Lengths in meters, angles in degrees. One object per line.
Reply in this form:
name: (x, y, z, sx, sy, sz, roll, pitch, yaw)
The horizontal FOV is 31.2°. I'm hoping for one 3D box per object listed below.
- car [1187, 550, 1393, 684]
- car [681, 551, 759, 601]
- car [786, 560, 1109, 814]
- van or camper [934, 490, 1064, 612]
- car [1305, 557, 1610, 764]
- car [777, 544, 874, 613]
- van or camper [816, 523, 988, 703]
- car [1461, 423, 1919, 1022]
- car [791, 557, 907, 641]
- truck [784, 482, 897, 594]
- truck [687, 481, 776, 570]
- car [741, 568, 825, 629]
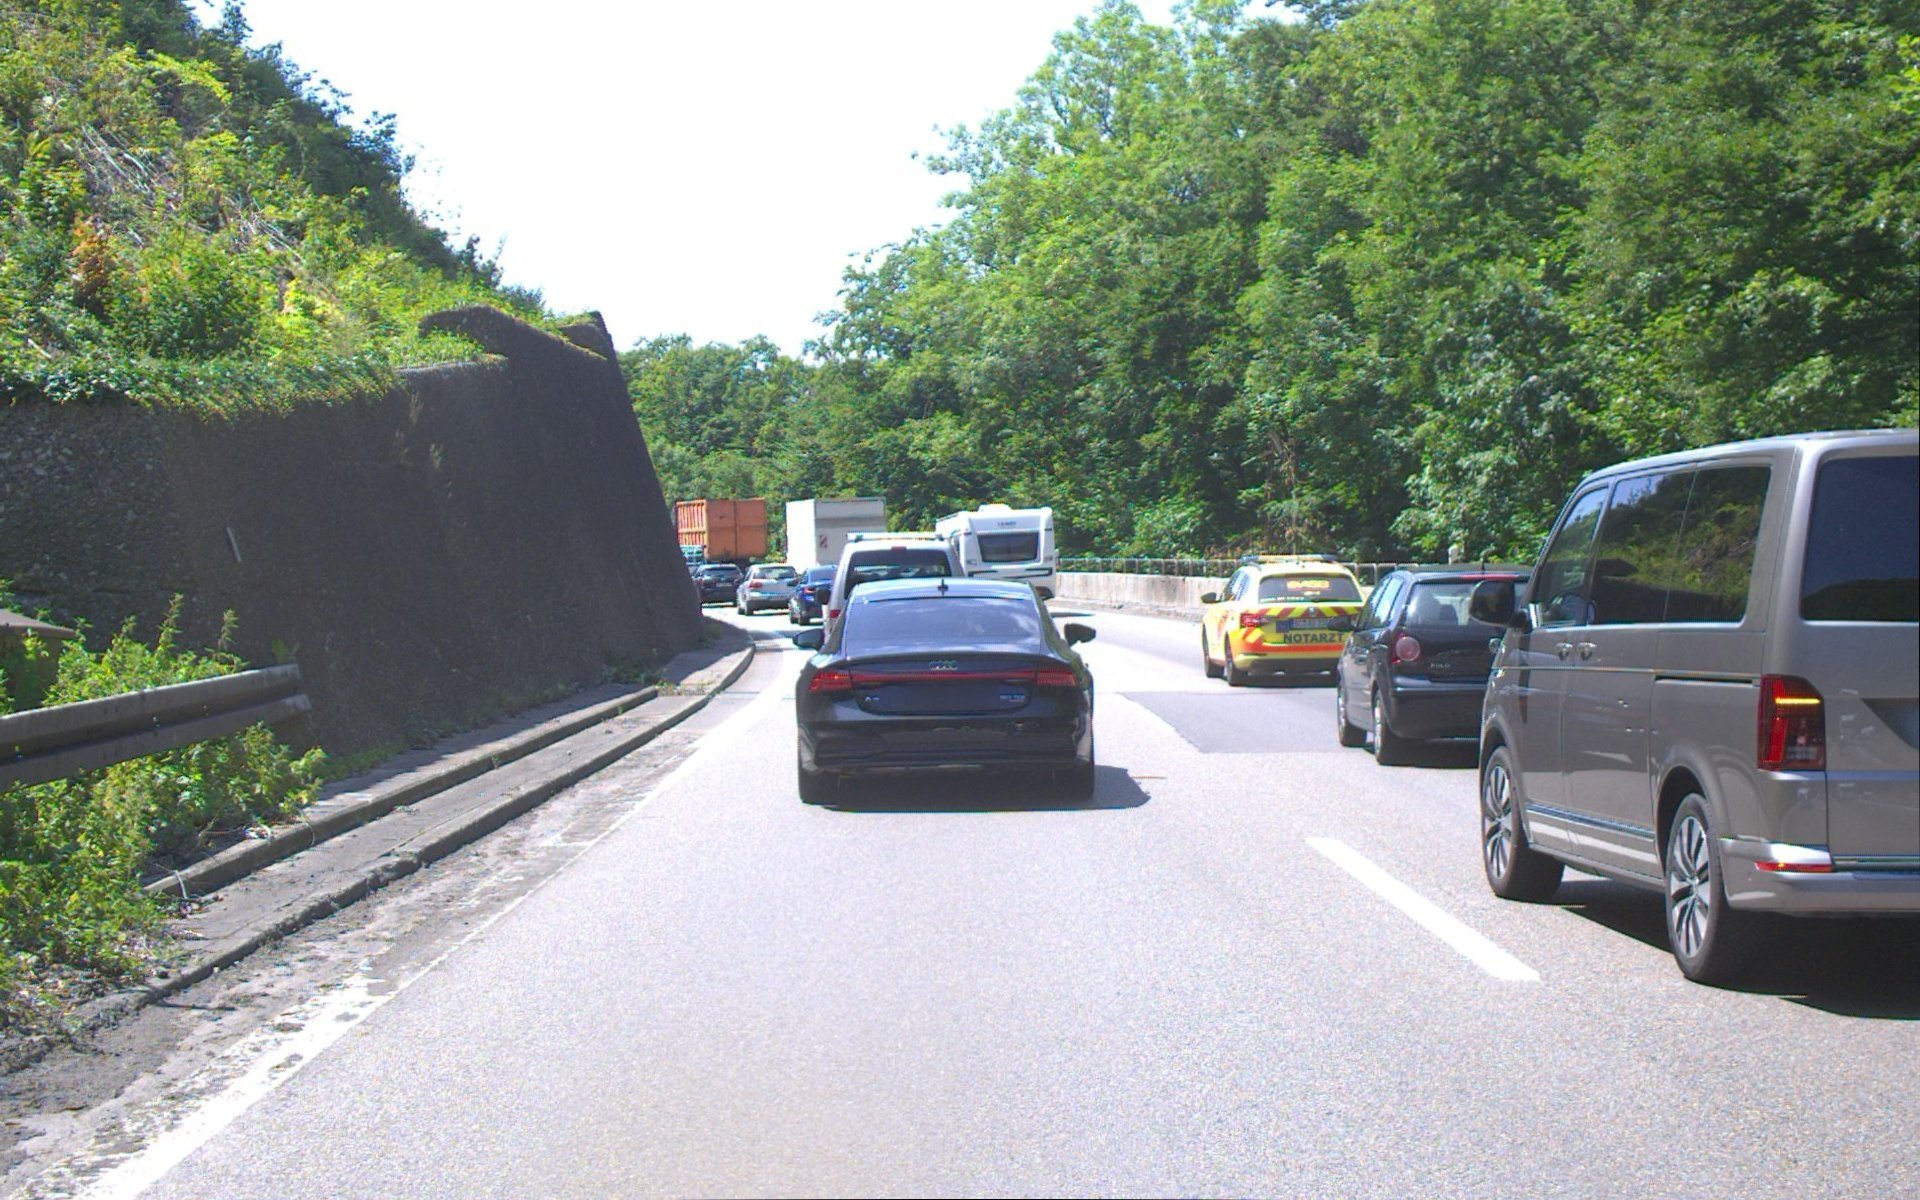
car: (3.941, 0.167, 41.692, 1.808, 1.473, 4.082, 2, 1, -4)
car: (-7.876, -0.798, 112.606, 1.750, 1.565, 3.772, 1, 1, -17)
car: (-0.186, 0.497, 22.889, 1.904, 1.484, 4.380, -1, 1, -3)
van or camper: (0.903, -1.203, 84.850, 2.603, 2.845, 6.337, 1, 1, -5)
car: (3.706, 0.402, 26.220, 1.685, 1.453, 4.000, 0, 1, -1)
car: (-3.358, -0.547, 85.148, 1.857, 1.614, 4.001, -2, 1, -9)
van or camper: (-0.657, 0.127, 40.557, 1.853, 1.935, 4.165, 2, 1, 0)
car: (3.397, 0.357, 13.451, 1.940, 1.924, 4.695, 0, 1, -3)
car: (-2.228, -0.042, 68.040, 1.894, 1.579, 3.772, 1, 1, -8)
truck: (-4.288, -2.196, 121.415, 2.924, 3.674, 7.726, 3, 1, -9)
truck: (-9.626, -3.094, 144.037, 3.163, 3.456, 8.223, 3, 1, -7)
car: (-5.136, -0.057, 99.235, 1.993, 1.612, 4.001, 2, 1, -8)
